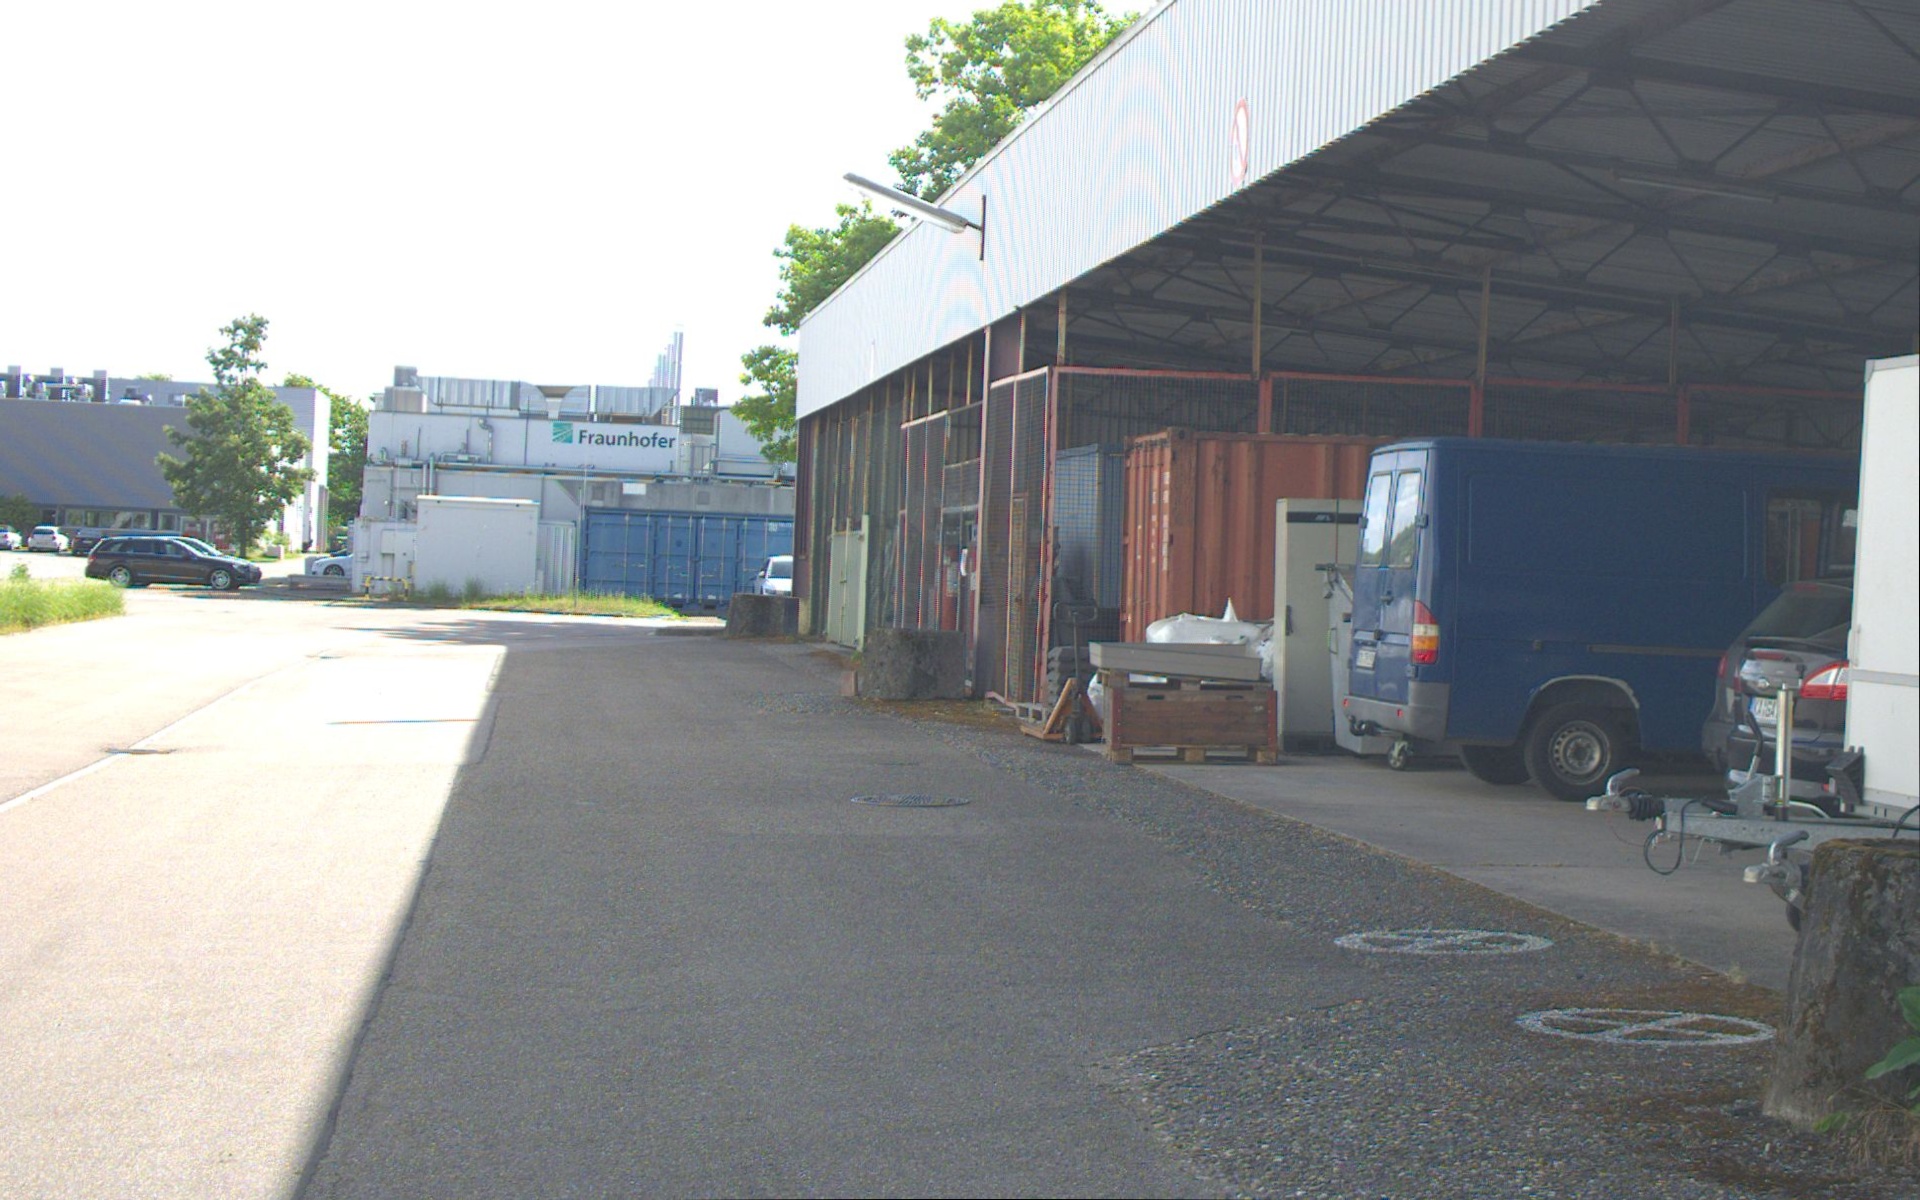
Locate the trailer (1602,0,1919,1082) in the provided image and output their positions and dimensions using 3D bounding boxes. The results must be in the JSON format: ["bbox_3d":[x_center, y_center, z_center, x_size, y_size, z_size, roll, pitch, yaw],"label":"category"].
[{"bbox_3d":[7.622,-0.216,11.728,10.291,3.284,2.676,1,1,-6],"label":"trailer"}]

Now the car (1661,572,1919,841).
[{"bbox_3d":[6.338,0.594,19.825,4.106,1.449,1.851,1,0,-7],"label":"car"}]

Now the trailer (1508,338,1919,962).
[{"bbox_3d":[4.682,0.201,13.923,4.541,2.327,1.689,1,1,-6],"label":"trailer"}]

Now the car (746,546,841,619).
[{"bbox_3d":[-4.228,-0.462,86.667,1.980,1.588,4.342,3,2,-7],"label":"car"}]

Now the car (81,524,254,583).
[{"bbox_3d":[-22.361,-1.295,97.153,4.528,1.438,1.988,2,-1,-7],"label":"car"}]

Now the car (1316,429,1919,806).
[{"bbox_3d":[5.202,0.135,22.906,5.215,2.289,2.084,2,0,-8],"label":"car"}]

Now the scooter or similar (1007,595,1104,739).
[{"bbox_3d":[0.776,0.532,28.202,0.520,1.131,1.593,2,0,-7],"label":"scooter or similar"}]

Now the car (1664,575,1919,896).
[{"bbox_3d":[5.840,0.627,16.685,4.342,1.428,1.865,1,0,-10],"label":"car"}]

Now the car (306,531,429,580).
[{"bbox_3d":[-21.562,-1.610,125.205,4.278,1.564,1.988,2,-1,-7],"label":"car"}]

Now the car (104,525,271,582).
[{"bbox_3d":[-22.534,-1.340,100.415,4.528,1.438,1.904,2,-1,-7],"label":"car"}]

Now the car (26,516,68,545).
[{"bbox_3d":[-50.825,-3.856,191.439,1.877,1.532,4.037,1,1,-9],"label":"car"}]

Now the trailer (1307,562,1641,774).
[{"bbox_3d":[3.757,0.485,25.360,2.094,1.457,1.642,2,0,-4],"label":"trailer"}]

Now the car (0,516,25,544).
[{"bbox_3d":[-53.108,-3.882,190.939,1.877,1.532,4.037,1,1,-9],"label":"car"}]
